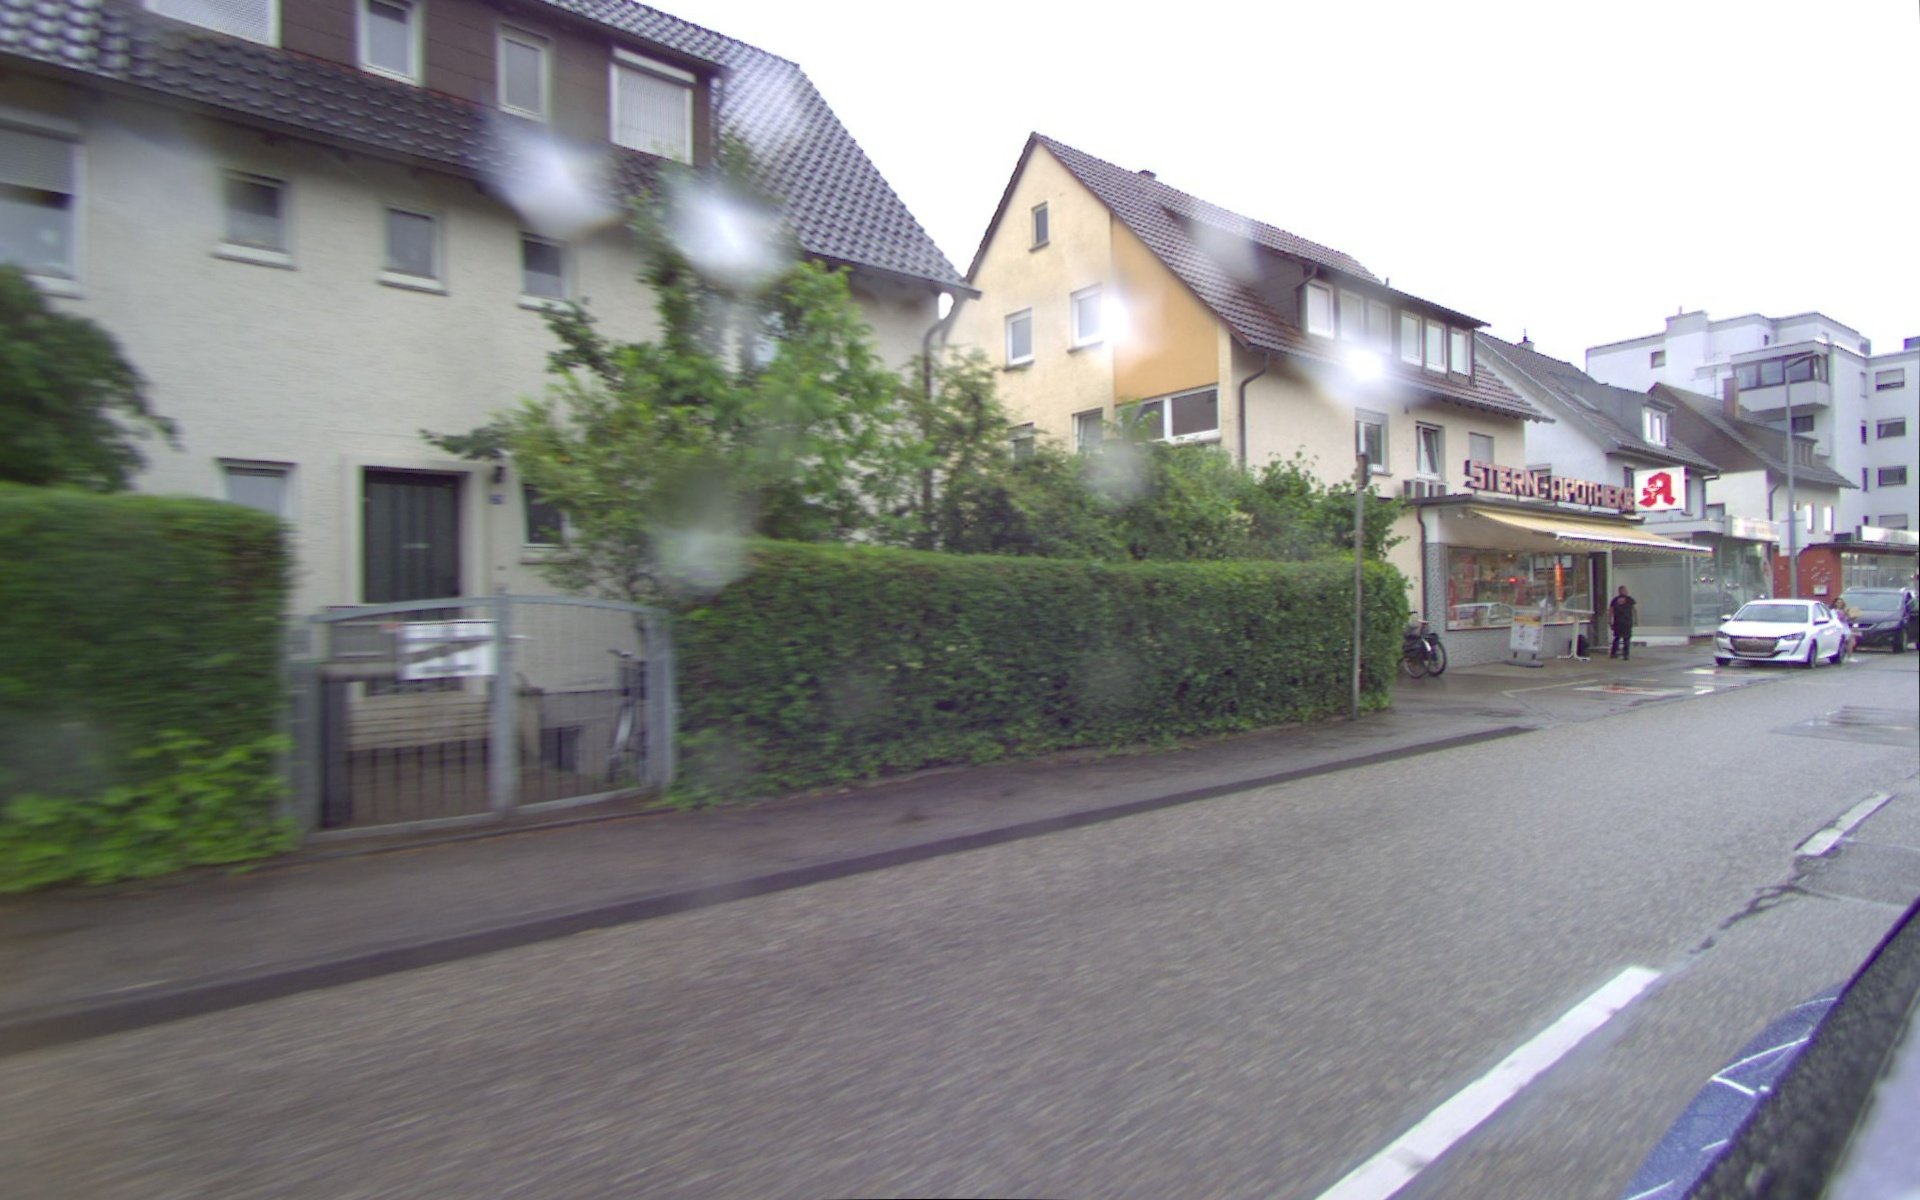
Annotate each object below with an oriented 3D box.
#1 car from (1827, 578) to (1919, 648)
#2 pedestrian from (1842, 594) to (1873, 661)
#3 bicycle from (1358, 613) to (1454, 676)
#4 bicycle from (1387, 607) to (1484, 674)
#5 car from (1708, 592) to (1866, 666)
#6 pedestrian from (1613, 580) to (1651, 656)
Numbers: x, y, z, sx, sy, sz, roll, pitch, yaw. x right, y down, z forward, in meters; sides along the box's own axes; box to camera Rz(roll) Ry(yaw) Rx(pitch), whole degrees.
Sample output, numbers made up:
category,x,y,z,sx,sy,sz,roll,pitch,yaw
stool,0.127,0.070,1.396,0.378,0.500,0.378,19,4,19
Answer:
category,x,y,z,sx,sy,sz,roll,pitch,yaw
car,26.122,0.286,28.072,4.870,1.716,2.042,-2,2,-36
pedestrian,20.729,0.627,23.374,0.456,1.519,0.446,1,-1,-38
bicycle,8.080,0.782,18.401,0.609,0.944,1.656,0,4,-18
bicycle,8.714,0.714,18.630,0.609,1.060,1.656,0,4,-18
car,18.453,0.573,22.527,4.126,1.466,1.820,-1,1,-37
pedestrian,15.259,0.410,22.990,0.543,1.700,0.514,-1,-1,16
